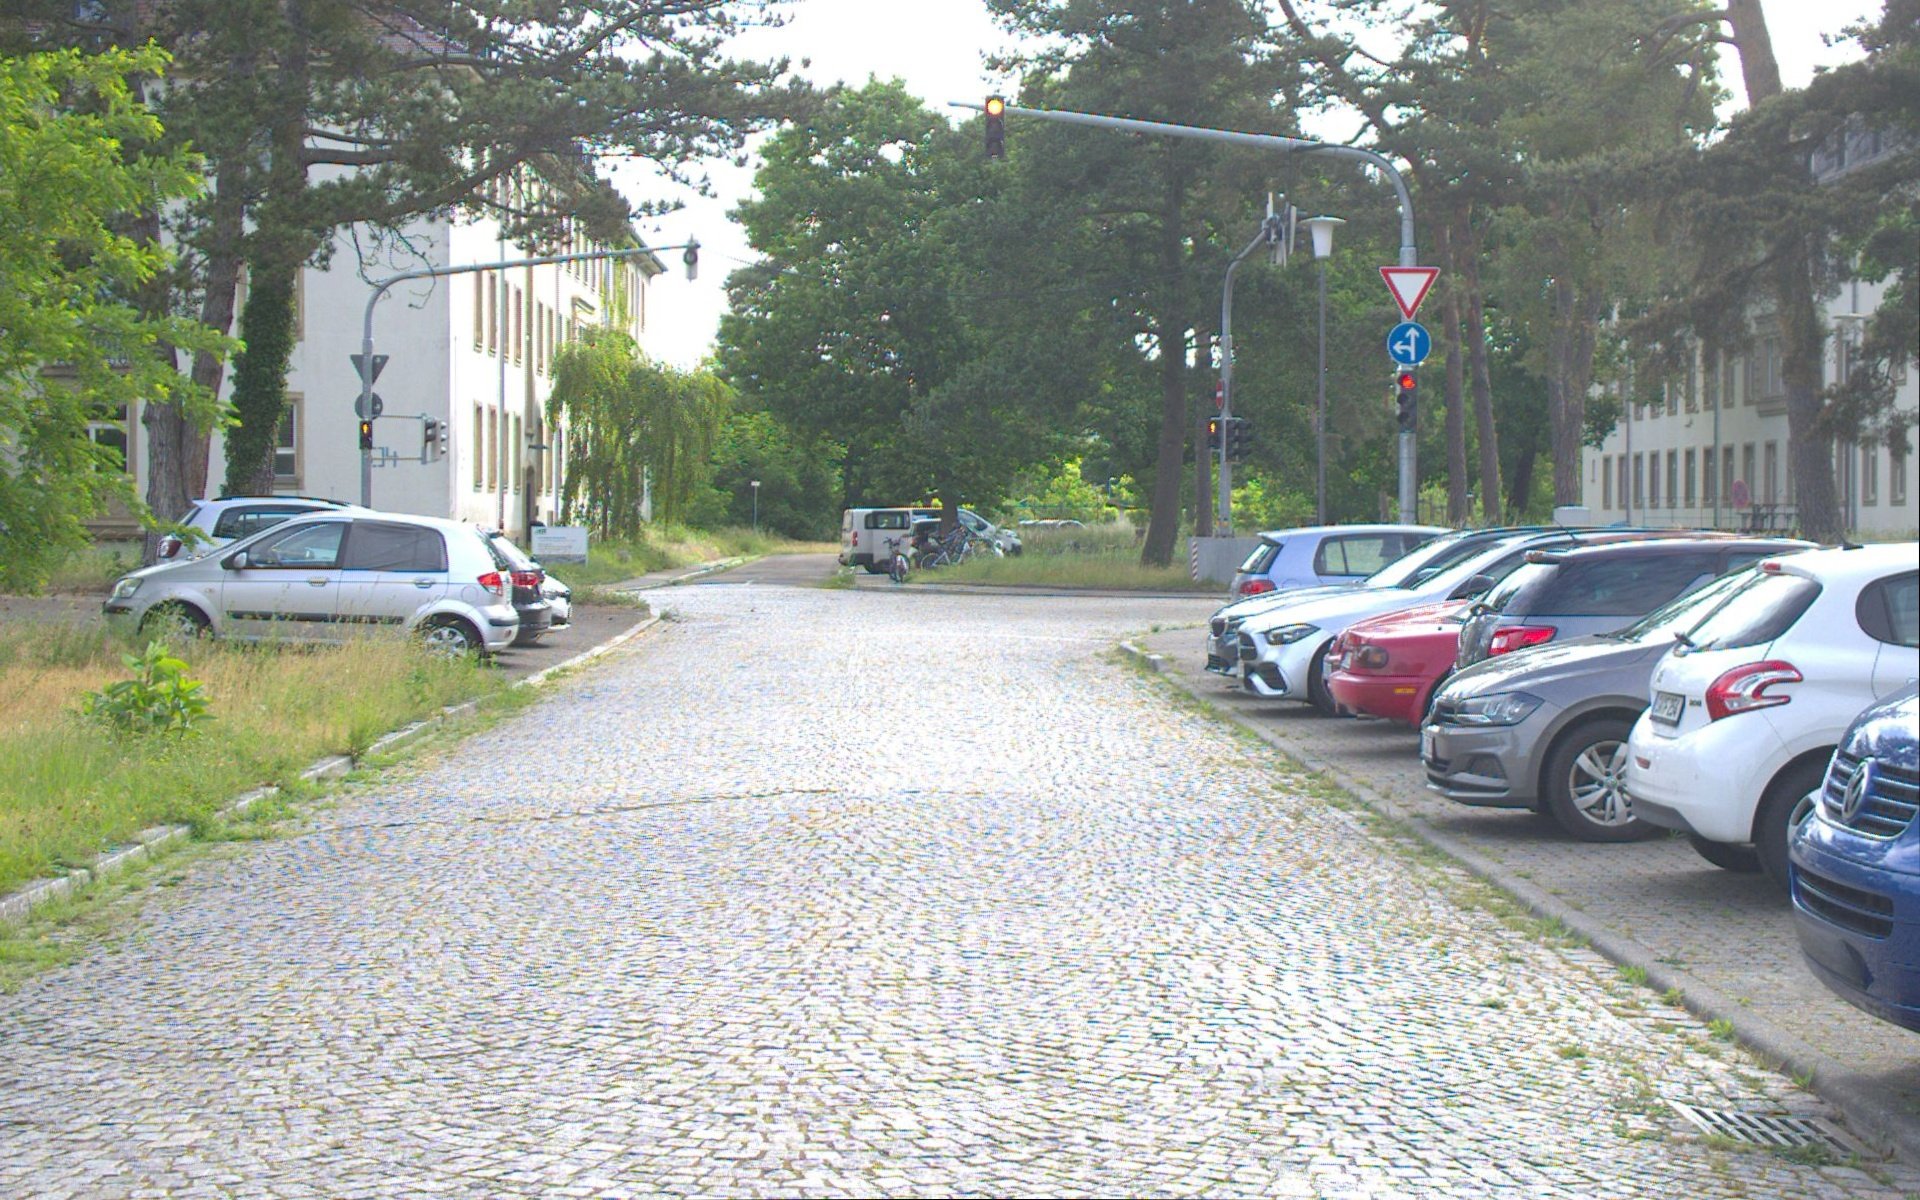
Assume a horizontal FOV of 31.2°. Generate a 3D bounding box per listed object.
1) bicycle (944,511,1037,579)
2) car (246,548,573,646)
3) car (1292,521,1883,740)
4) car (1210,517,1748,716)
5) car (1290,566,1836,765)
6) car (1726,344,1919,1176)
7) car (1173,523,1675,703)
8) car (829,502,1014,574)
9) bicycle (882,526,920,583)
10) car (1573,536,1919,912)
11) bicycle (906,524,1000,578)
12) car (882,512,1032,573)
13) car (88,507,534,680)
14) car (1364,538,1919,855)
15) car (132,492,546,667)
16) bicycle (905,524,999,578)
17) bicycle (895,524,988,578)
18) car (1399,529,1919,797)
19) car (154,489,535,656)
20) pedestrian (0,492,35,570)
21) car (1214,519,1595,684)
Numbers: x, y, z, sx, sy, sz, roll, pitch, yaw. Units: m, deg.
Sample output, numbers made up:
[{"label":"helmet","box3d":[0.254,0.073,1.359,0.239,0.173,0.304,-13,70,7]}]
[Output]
[{"label":"bicycle","box3d":[0.733,-1.333,83.372,2.160,1.610,0.812,0,1,-7]},{"label":"car","box3d":[-6.358,-0.043,39.945,3.670,1.090,1.647,0,2,-7]},{"label":"car","box3d":[4.610,0.207,25.542,3.986,1.538,1.664,1,1,-7]},{"label":"car","box3d":[4.142,0.118,27.768,3.986,1.538,1.664,0,2,-7]},{"label":"car","box3d":[4.036,0.421,23.290,3.291,1.263,1.664,0,2,-7]},{"label":"car","box3d":[4.693,0.385,9.334,4.781,2.033,1.738,0,1,-3]},{"label":"car","box3d":[4.085,0.100,30.583,4.122,1.538,1.664,0,2,-7]},{"label":"car","box3d":[-1.132,-1.816,99.868,5.049,2.007,2.001,1,1,-11]},{"label":"bicycle","box3d":[-1.339,-1.055,78.288,0.810,1.264,1.973,1,1,0]},{"label":"car","box3d":[4.462,0.493,14.764,3.292,1.499,1.664,0,2,-3]},{"label":"bicycle","box3d":[-0.167,-1.168,82.064,2.160,1.264,0.812,0,1,-7]},{"label":"car","box3d":[-0.095,-1.613,96.609,3.986,1.638,2.001,1,1,-7]},{"label":"car","box3d":[-5.996,-0.079,32.187,3.986,1.546,2.001,0,2,-7]},{"label":"car","box3d":[4.070,0.451,17.695,3.597,1.501,1.665,0,2,-12]},{"label":"car","box3d":[-6.194,-0.225,34.671,3.986,1.700,2.001,0,2,-7]},{"label":"bicycle","box3d":[-0.185,-1.176,82.651,2.160,1.264,0.812,0,1,-7]},{"label":"bicycle","box3d":[-0.449,-1.198,83.861,2.160,1.264,0.812,0,1,-7]},{"label":"car","box3d":[4.478,0.342,20.578,3.291,1.499,1.665,0,2,-12]},{"label":"car","box3d":[-6.685,-0.313,37.614,3.986,1.744,1.927,1,1,-8]},{"label":"pedestrian","box3d":[-18.300,-1.328,65.901,0.898,1.493,0.904,1,1,0]},{"label":"car","box3d":[4.256,0.004,33.154,3.388,1.538,1.391,0,2,-7]}]
